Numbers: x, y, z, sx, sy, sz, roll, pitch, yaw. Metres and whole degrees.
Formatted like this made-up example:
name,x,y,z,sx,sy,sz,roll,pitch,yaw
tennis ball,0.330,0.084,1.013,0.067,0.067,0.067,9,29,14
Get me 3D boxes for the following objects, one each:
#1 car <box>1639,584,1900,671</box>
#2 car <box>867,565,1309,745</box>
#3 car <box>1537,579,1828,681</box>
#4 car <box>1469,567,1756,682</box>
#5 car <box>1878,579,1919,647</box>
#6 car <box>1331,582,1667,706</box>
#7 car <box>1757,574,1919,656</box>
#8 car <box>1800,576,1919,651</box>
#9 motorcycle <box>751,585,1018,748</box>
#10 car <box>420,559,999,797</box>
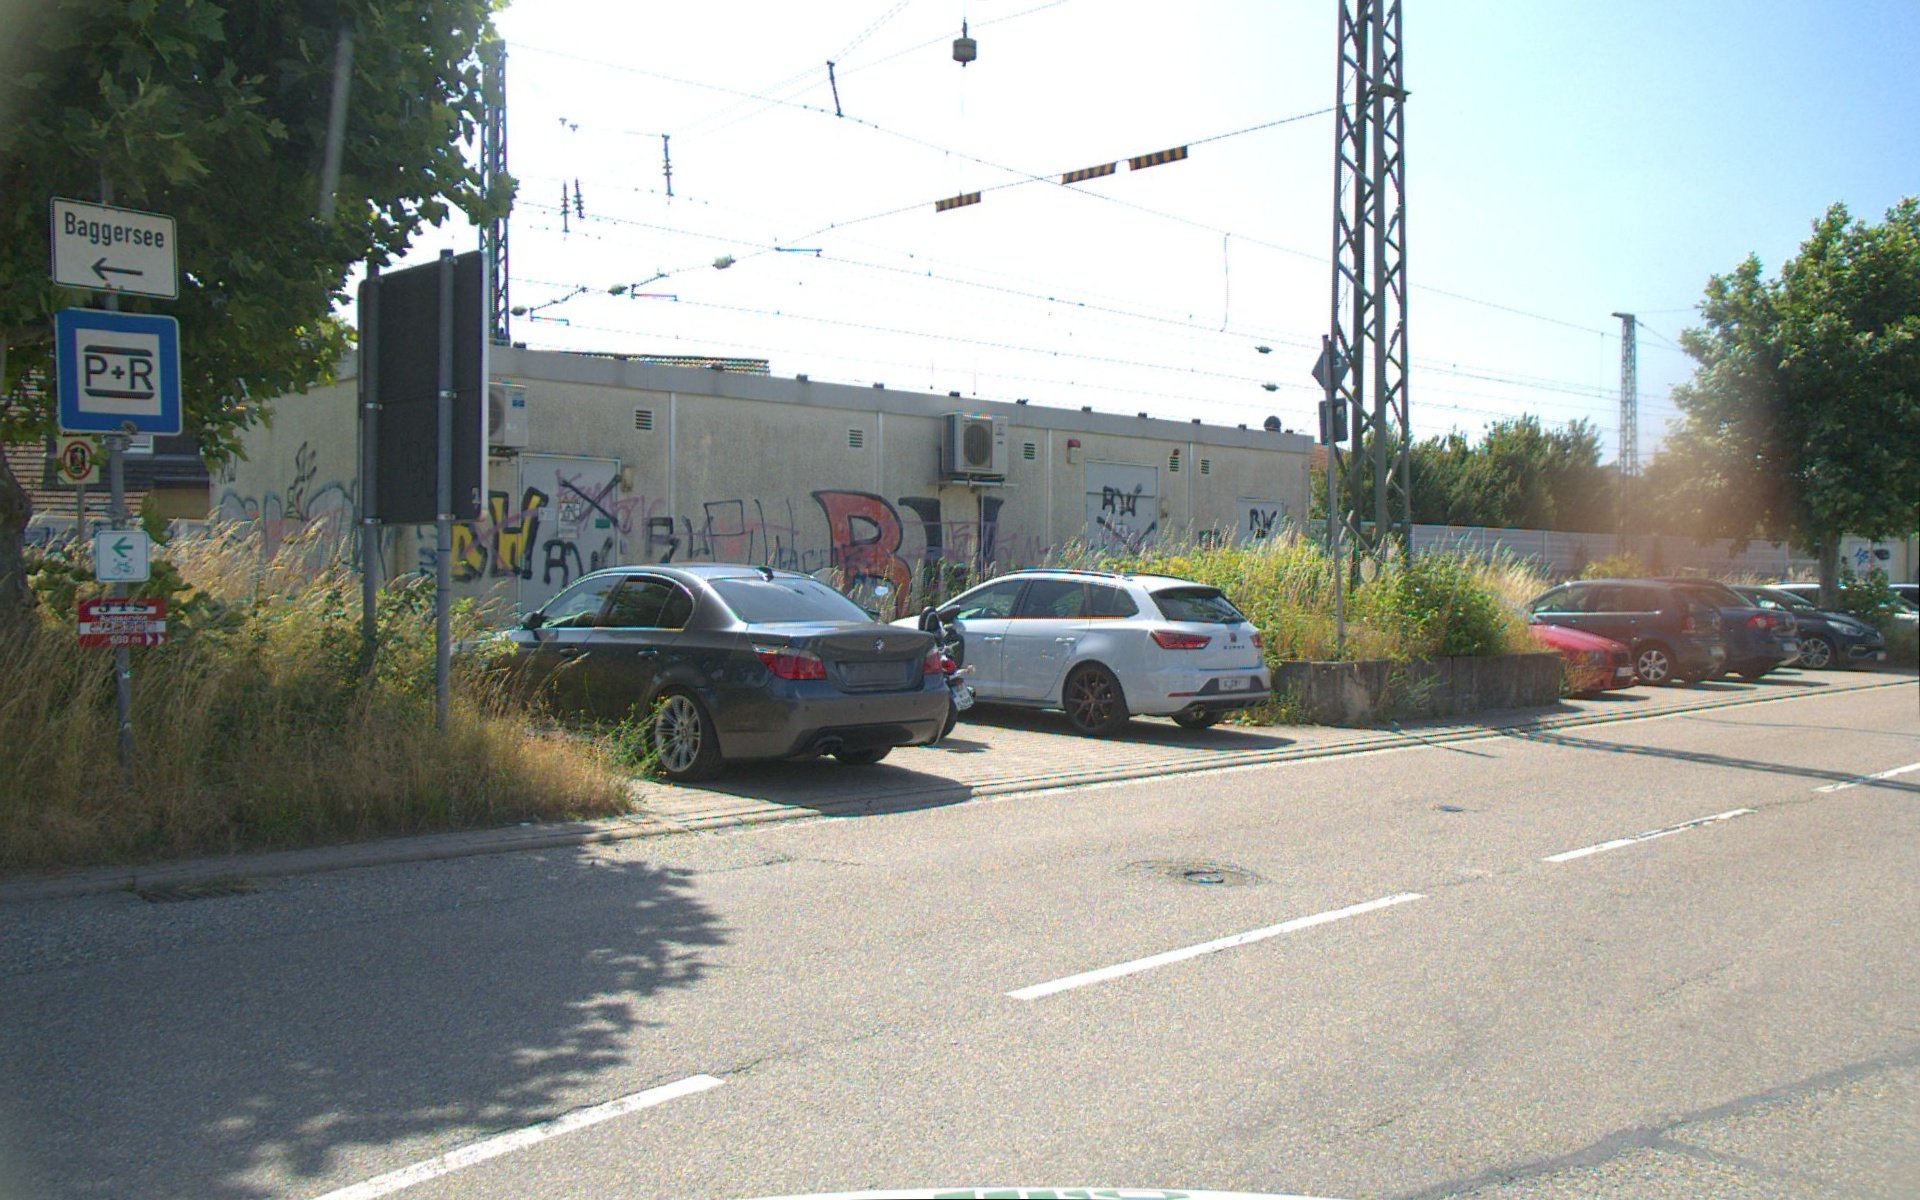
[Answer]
name,x,y,z,sx,sy,sz,roll,pitch,yaw
car,14.968,0.456,30.707,1.773,1.498,4.020,0,1,-44
car,1.132,0.430,15.871,4.016,1.426,1.775,3,2,43
car,11.461,0.426,26.415,1.770,1.475,3.901,0,1,-40
car,9.712,0.310,24.754,3.616,1.473,1.673,3,3,44
car,24.627,0.326,40.048,3.913,1.646,1.840,1,1,42
car,7.183,0.517,22.310,1.661,1.392,4.021,-2,3,-44
car,19.220,0.291,34.513,1.912,1.559,4.281,-1,2,-45
car,20.971,0.288,36.517,3.932,1.574,1.987,2,1,44
motorcycle,-0.718,0.525,14.487,2.687,1.303,0.713,1,1,45
car,-1.955,0.449,12.079,4.358,1.435,1.778,1,1,40
